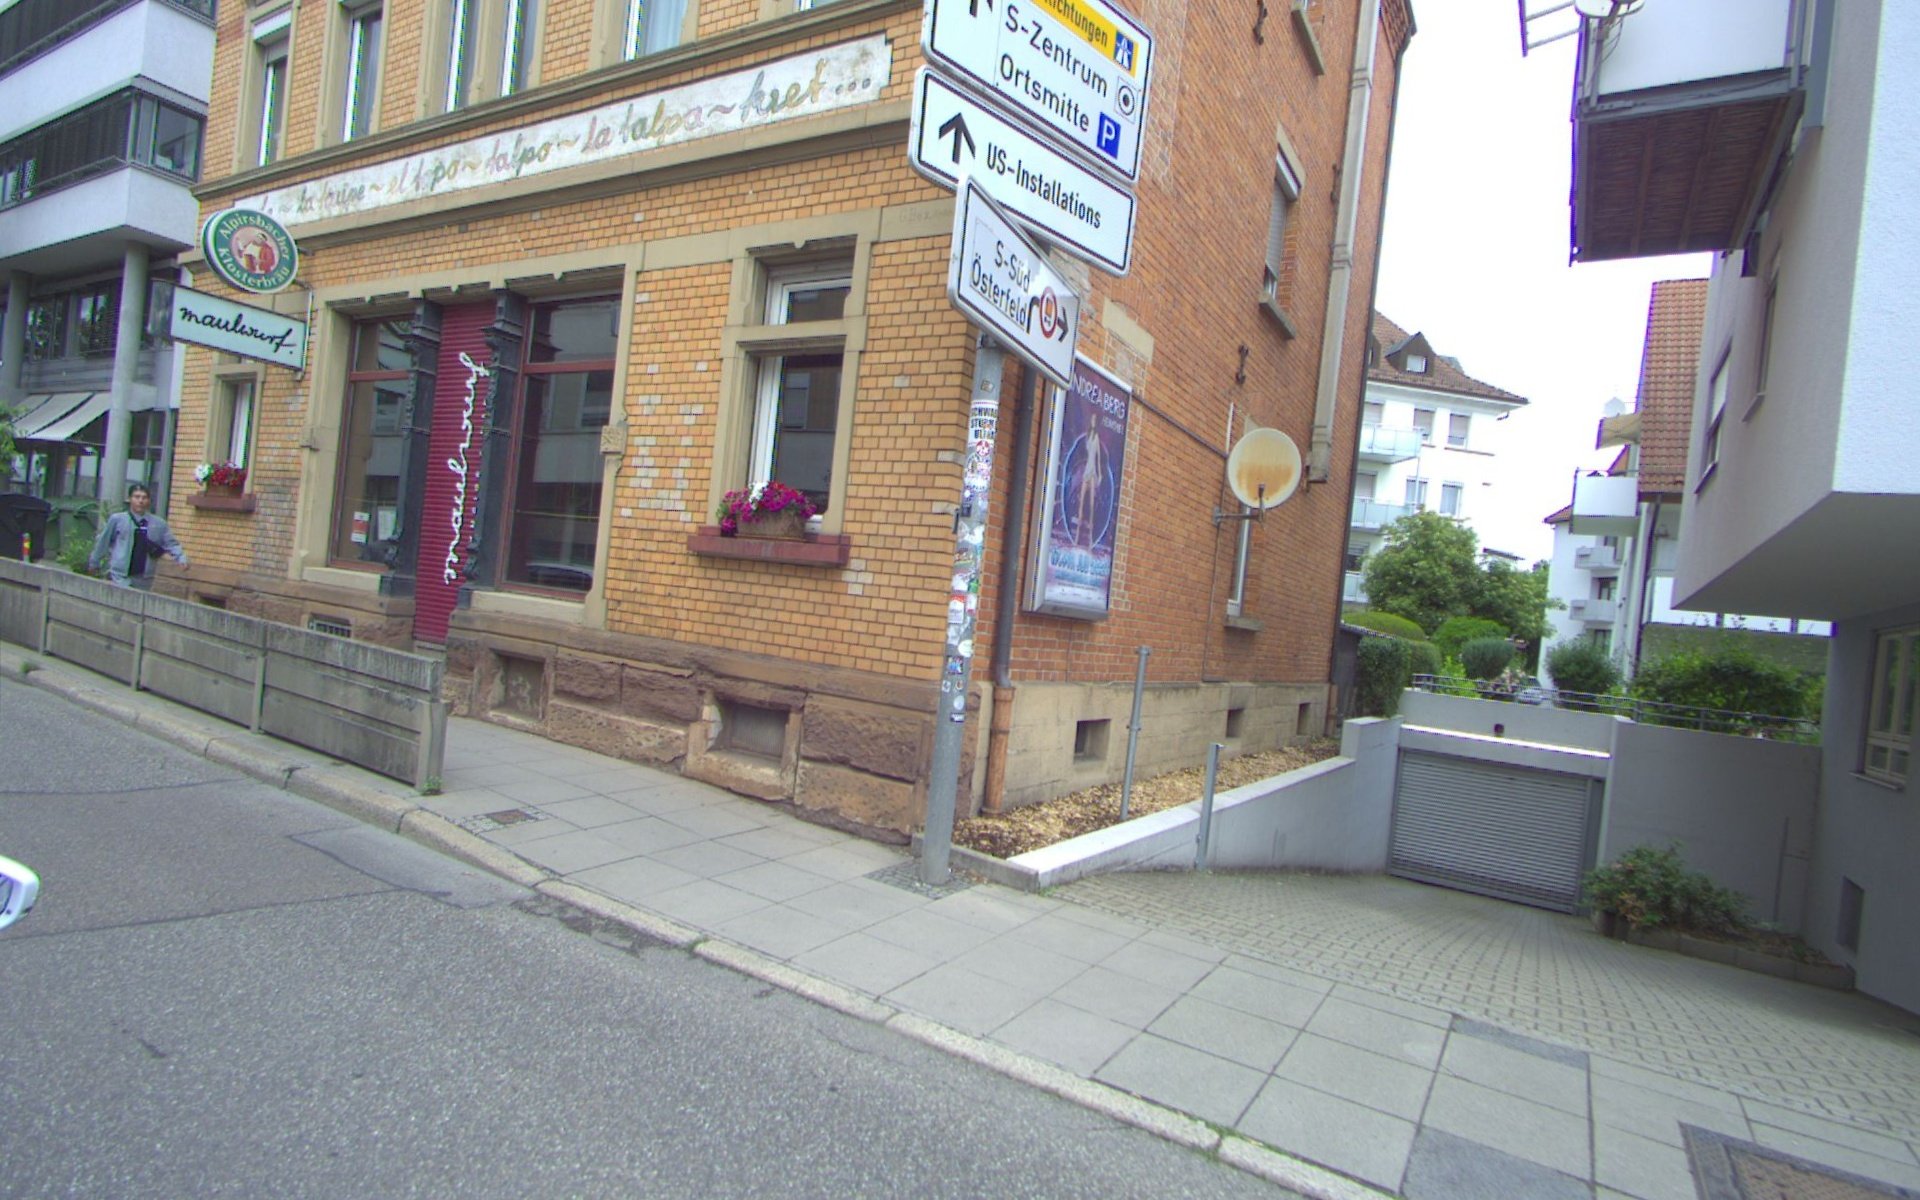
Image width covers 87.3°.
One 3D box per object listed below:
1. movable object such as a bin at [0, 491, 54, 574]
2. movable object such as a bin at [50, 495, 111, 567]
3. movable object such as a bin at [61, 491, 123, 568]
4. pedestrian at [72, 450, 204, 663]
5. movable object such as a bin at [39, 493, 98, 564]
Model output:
[{"bbox_3d":[-18.143,-1.312,19.100,1.421,1.489,0.944,6,2,29],"label":"movable object such as a bin"},{"bbox_3d":[-19.829,-1.547,22.688,0.720,1.510,0.821,5,2,33],"label":"movable object such as a bin"},{"bbox_3d":[-19.212,-1.556,22.267,0.720,1.611,0.821,5,2,33],"label":"movable object such as a bin"},{"bbox_3d":[-8.273,-0.423,10.130,0.665,2.039,0.694,7,1,30],"label":"pedestrian"},{"bbox_3d":[-20.453,-1.630,23.087,0.720,1.524,0.821,5,2,33],"label":"movable object such as a bin"}]
